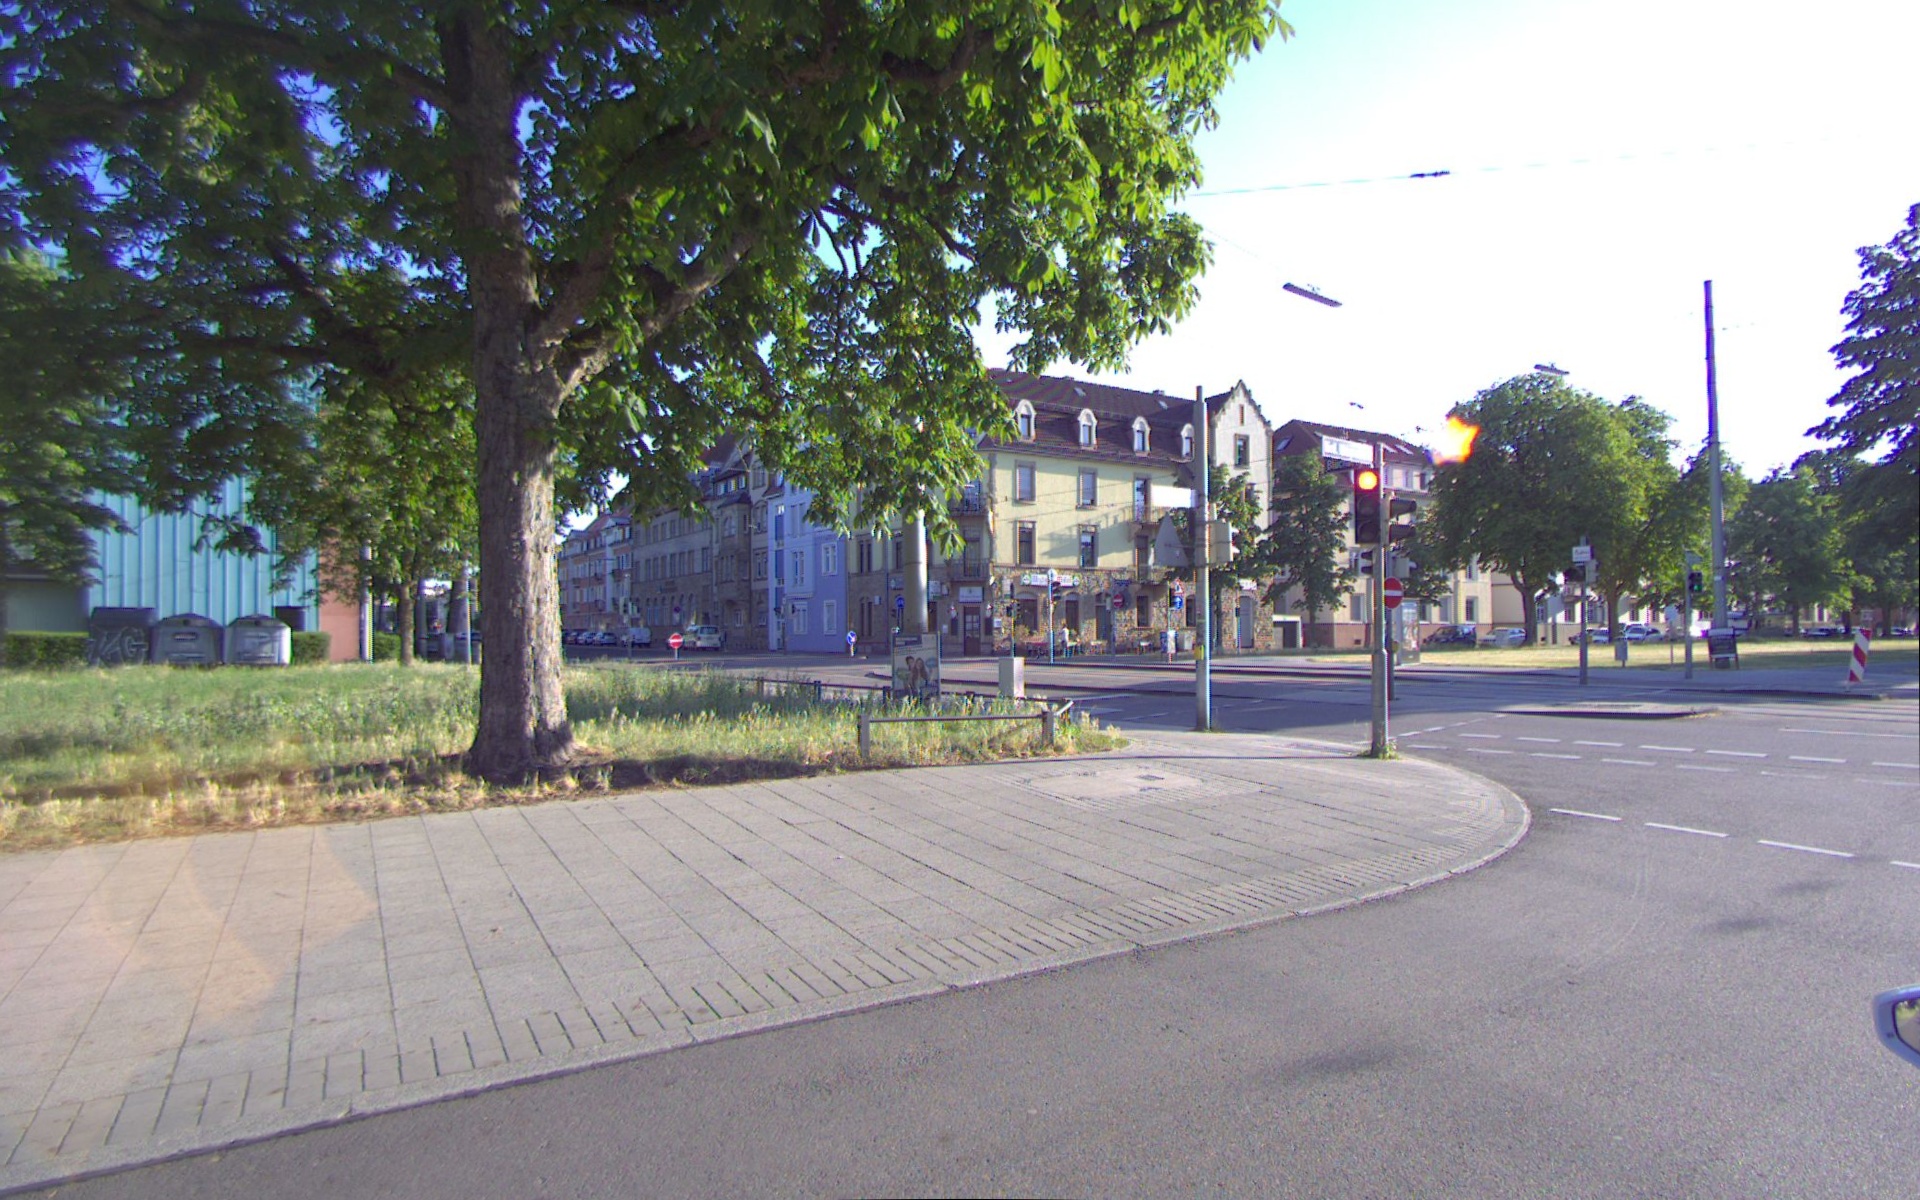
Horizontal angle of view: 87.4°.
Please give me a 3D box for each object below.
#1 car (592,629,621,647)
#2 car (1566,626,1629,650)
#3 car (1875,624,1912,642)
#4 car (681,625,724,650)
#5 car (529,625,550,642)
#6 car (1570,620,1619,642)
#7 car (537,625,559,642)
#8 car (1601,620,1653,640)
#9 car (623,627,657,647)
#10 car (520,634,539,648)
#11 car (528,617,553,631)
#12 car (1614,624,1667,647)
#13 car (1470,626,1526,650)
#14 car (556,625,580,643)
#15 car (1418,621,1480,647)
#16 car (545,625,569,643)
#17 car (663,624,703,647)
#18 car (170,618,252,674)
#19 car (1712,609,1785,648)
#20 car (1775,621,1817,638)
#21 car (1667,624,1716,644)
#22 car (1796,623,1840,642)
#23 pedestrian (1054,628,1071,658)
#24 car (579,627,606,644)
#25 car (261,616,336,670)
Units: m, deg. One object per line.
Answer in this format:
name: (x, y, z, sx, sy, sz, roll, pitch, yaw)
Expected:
car: (-36.488, 3.920, 103.651, 1.980, 1.694, 3.743, 2, 0, -34)
car: (46.498, 2.770, 73.233, 4.517, 1.681, 1.984, 2, 0, -30)
car: (97.845, 3.475, 105.255, 4.075, 1.804, 1.802, 2, 0, -31)
car: (-20.081, 2.893, 78.264, 2.011, 1.760, 3.743, 2, 0, -34)
car: (-54.776, 4.354, 130.898, 1.756, 2.040, 3.790, 2, 0, -34)
car: (52.837, 2.581, 83.582, 4.142, 1.654, 1.707, 2, 0, -30)
car: (-51.969, 4.205, 126.666, 1.789, 2.040, 3.772, 2, 0, -33)
car: (58.304, 2.637, 87.836, 4.517, 1.681, 1.984, 2, 0, -30)
car: (-29.959, 3.487, 93.963, 1.980, 1.694, 3.743, 2, 0, -34)
car: (-57.743, 5.436, 134.742, 1.713, 1.694, 3.638, 2, 0, -33)
car: (-58.231, 3.333, 139.389, 1.912, 1.715, 3.951, 2, 0, -41)
car: (51.624, 2.673, 76.207, 4.372, 1.575, 1.785, 0, 1, -34)
car: (40.914, 2.891, 76.402, 3.953, 1.681, 1.984, 2, 0, -30)
car: (-45.999, 3.987, 117.735, 1.782, 1.855, 3.755, 2, 0, -34)
car: (35.634, 2.464, 73.193, 4.261, 1.759, 1.984, 2, 0, -30)
car: (-48.988, 4.089, 122.097, 1.805, 2.040, 3.924, 2, 0, -34)
car: (-22.898, 2.929, 82.893, 1.980, 1.763, 3.962, 1, 0, -34)
car: (-24.753, 1.462, 33.122, 1.951, 1.693, 5.165, 1, -2, -39)
car: (67.947, 2.425, 86.509, 7.764, 3.173, 2.379, 1, 1, -32)
car: (86.896, 3.058, 104.386, 4.323, 1.681, 1.984, 2, 0, -30)
car: (66.837, 3.090, 91.786, 4.517, 1.681, 1.984, 2, 0, -30)
car: (80.905, 3.059, 94.700, 4.266, 1.696, 1.869, 2, 0, -31)
pedestrian: (5.775, 2.390, 56.346, 0.676, 1.646, 0.612, 2, 0, -34)
car: (-39.684, 3.801, 108.315, 1.816, 1.692, 3.911, 2, 0, -34)
car: (-22.715, 1.526, 34.504, 1.979, 1.693, 5.177, 2, -4, -34)
